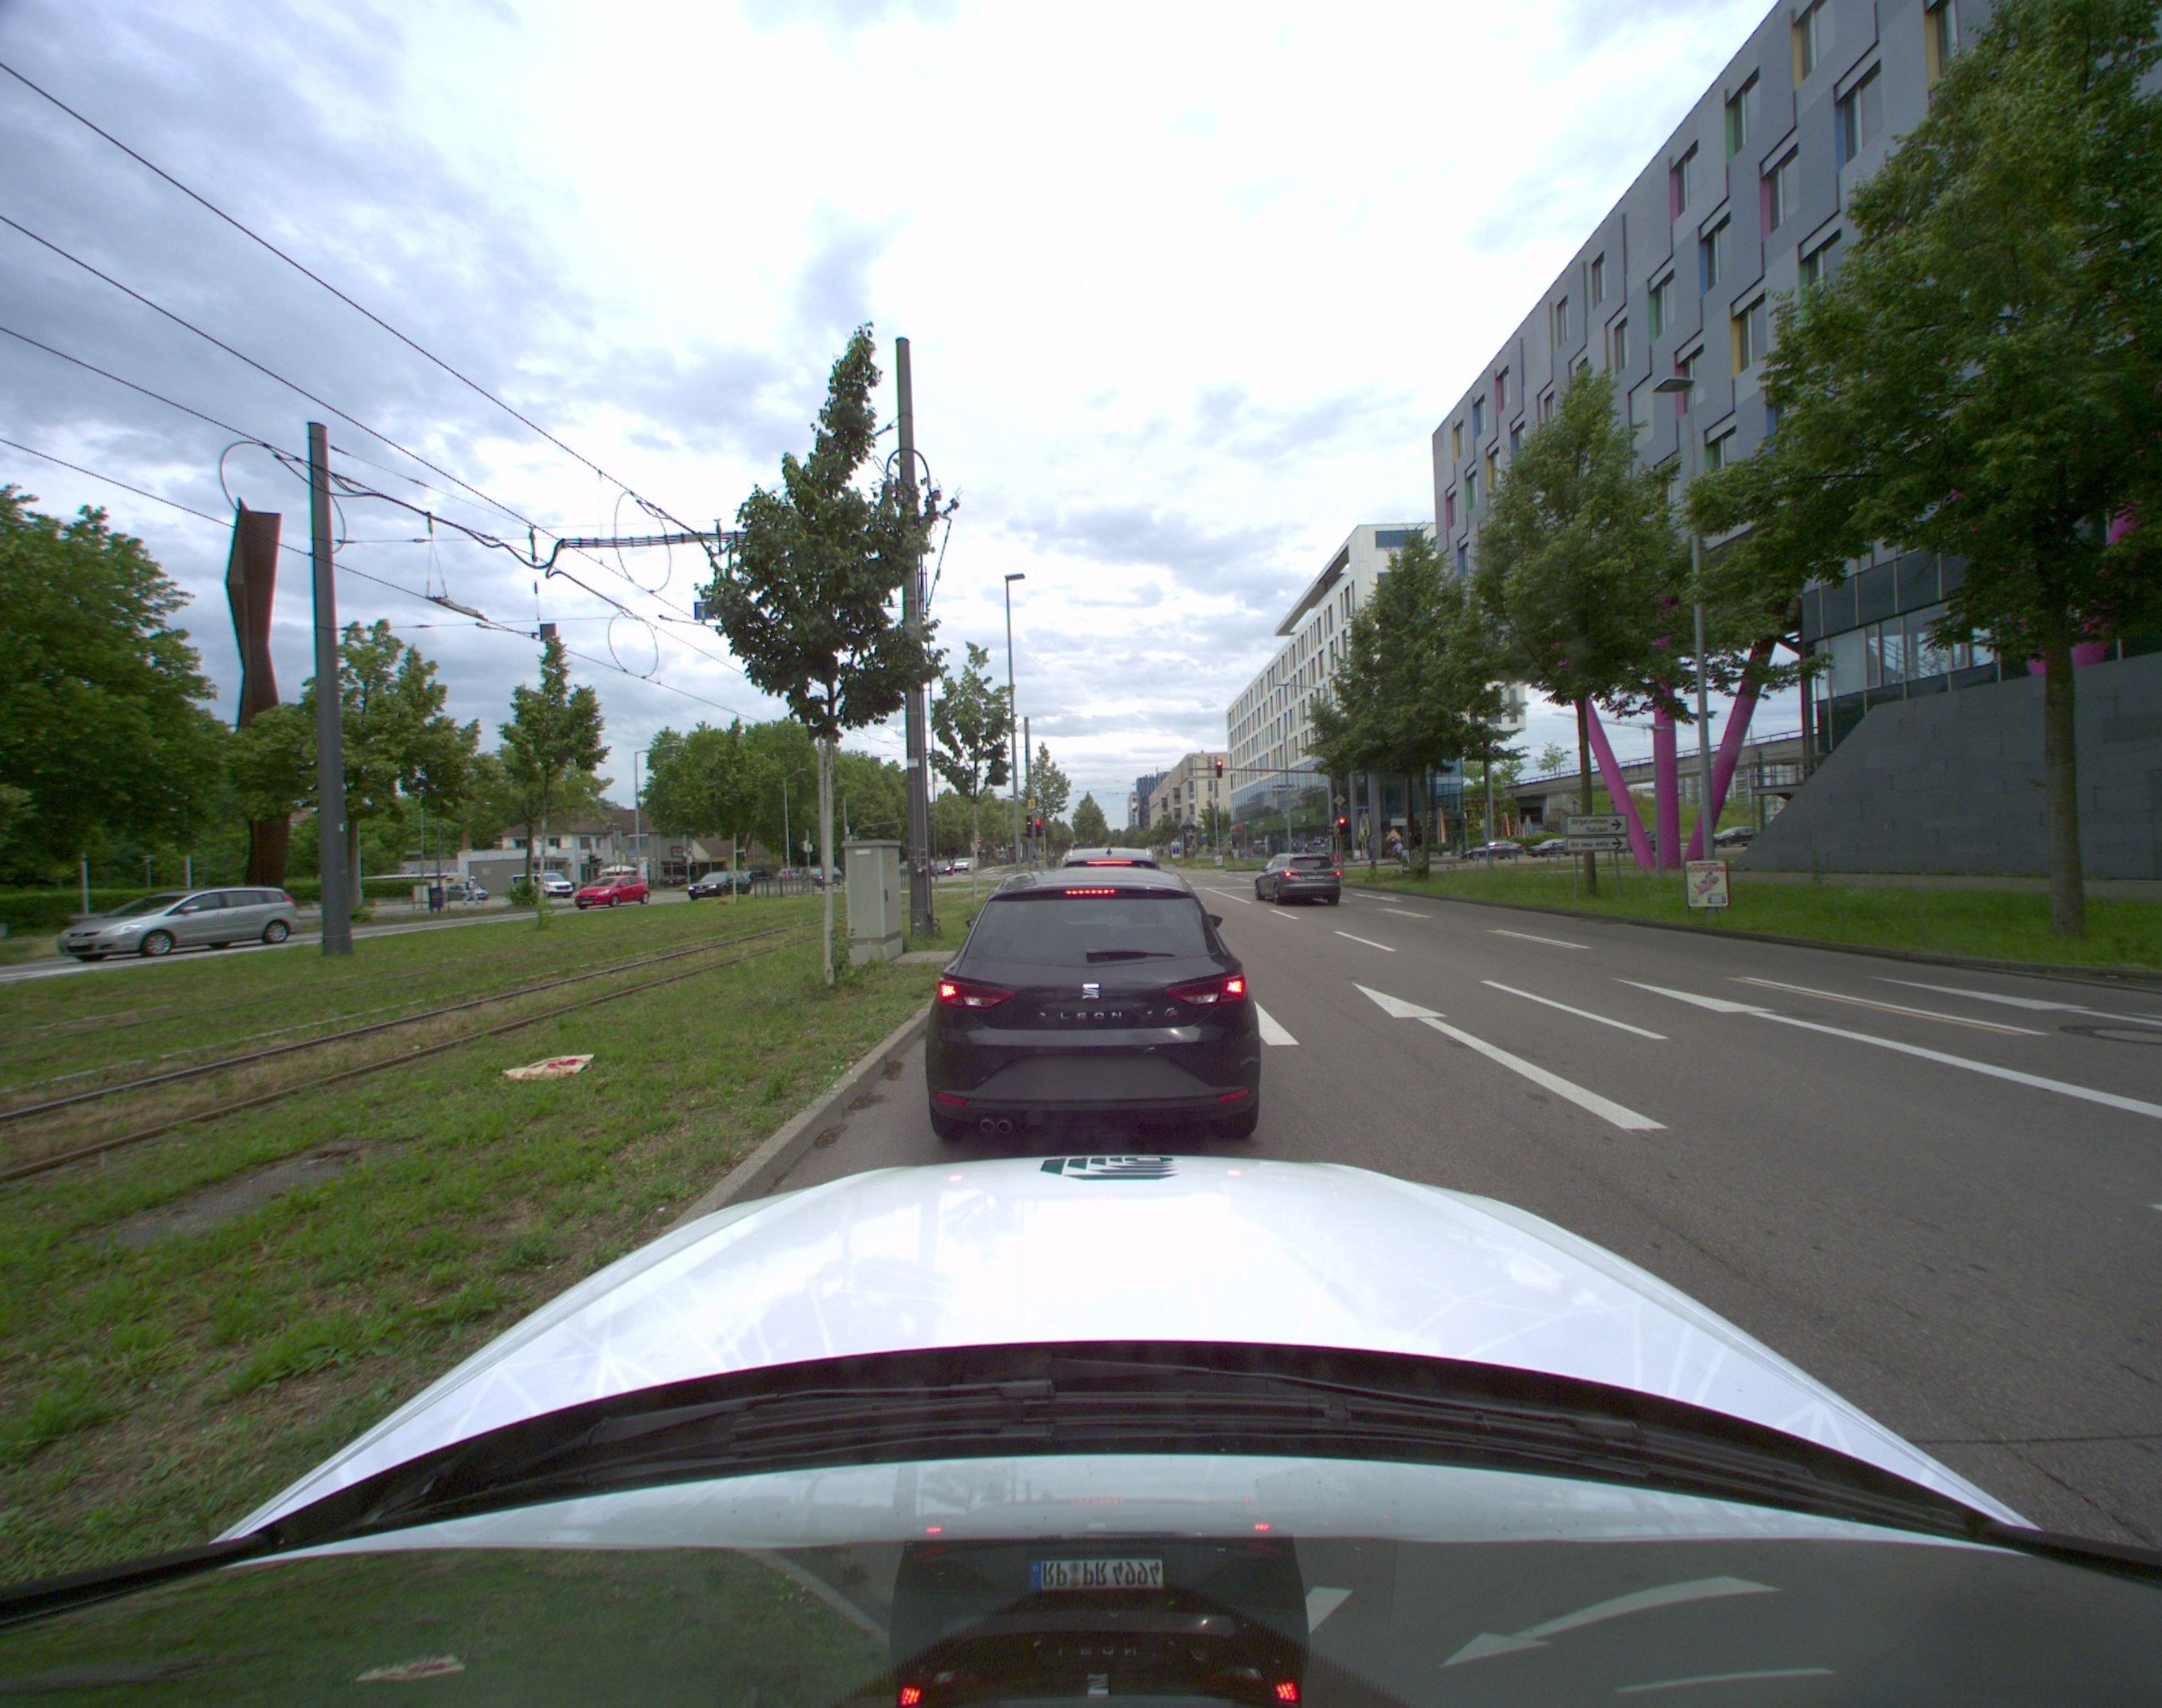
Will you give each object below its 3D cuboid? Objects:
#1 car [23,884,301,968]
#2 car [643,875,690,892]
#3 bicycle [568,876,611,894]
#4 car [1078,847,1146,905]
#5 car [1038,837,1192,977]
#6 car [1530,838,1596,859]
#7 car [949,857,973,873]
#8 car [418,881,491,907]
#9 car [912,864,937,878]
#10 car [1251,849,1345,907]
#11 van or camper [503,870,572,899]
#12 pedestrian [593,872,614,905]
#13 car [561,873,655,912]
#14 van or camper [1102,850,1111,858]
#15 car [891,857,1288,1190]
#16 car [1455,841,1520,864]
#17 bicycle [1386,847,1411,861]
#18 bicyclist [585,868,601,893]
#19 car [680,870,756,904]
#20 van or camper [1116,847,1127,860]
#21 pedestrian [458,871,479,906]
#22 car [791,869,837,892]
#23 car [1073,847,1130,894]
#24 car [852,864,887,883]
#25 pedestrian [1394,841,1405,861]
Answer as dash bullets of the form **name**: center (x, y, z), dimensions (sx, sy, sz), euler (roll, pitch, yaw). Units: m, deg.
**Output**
- **car**: center (-22.973, 1.715, 20.720), dimensions (1.715, 1.643, 4.674), euler (-2, 0, 0)
- **car**: center (-47.134, 3.347, 92.714), dimensions (4.258, 1.816, 2.111), euler (-2, 0, 6)
- **bicycle**: center (-35.626, 2.228, 59.080), dimensions (2.520, 1.202, 0.734), euler (-2, 0, -25)
- **car**: center (1.079, 0.637, 26.198), dimensions (1.984, 1.682, 4.005), euler (-1, 0, 5)
- **car**: center (0.473, 0.629, 11.817), dimensions (1.796, 1.624, 4.002), euler (-2, 0, 2)
- **car**: center (37.863, -0.427, 64.041), dimensions (4.063, 1.455, 1.759), euler (-2, 0, 3)
- **car**: center (-13.775, 1.220, 93.533), dimensions (1.987, 1.750, 4.201), euler (-2, 0, 1)
- **car**: center (-50.035, 3.181, 65.088), dimensions (4.258, 1.816, 2.111), euler (-2, 0, 6)
- **car**: center (-17.623, 1.913, 91.986), dimensions (1.805, 1.377, 4.270), euler (-2, 0, 1)
- **car**: center (6.407, 0.652, 24.504), dimensions (1.741, 1.499, 4.270), euler (-2, 1, 1)
- **van or camper**: center (-41.617, 2.316, 62.333), dimensions (5.212, 2.013, 2.481), euler (-2, 0, 34)
- **pedestrian**: center (-27.709, 2.003, 47.261), dimensions (0.779, 1.832, 0.771), euler (-2, 0, -16)
- **car**: center (-22.550, 1.777, 39.035), dimensions (1.789, 1.570, 4.331), euler (-2, 0, 3)
- **van or camper**: center (6.053, 0.017, 195.411), dimensions (1.986, 1.615, 4.792), euler (-1, 1, 2)
- **car**: center (0.074, 0.755, 5.595), dimensions (1.737, 1.417, 4.001), euler (-1, 0, 1)
- **car**: center (31.847, -0.128, 63.864), dimensions (4.233, 1.615, 1.759), euler (-2, 0, 3)
- **bicycle**: center (25.678, 0.010, 65.845), dimensions (1.784, 1.085, 0.618), euler (-2, 0, 3)
- **bicyclist**: center (-35.428, 1.932, 59.175), dimensions (0.854, 1.721, 0.715), euler (-2, 0, -25)
- **car**: center (-18.782, 1.668, 42.373), dimensions (1.658, 1.426, 4.746), euler (-4, 0, 1)
- **van or camper**: center (7.941, -0.158, 159.574), dimensions (2.101, 2.355, 4.927), euler (-1, 2, 2)
- **pedestrian**: center (-36.264, 2.014, 48.214), dimensions (0.910, 2.013, 0.942), euler (-2, 0, -40)
- **car**: center (-18.640, 1.817, 57.088), dimensions (1.795, 1.377, 4.058), euler (-2, 0, 1)
- **car**: center (0.850, 0.579, 31.269), dimensions (1.985, 1.682, 4.005), euler (-1, 0, 4)
- **car**: center (-19.941, 1.786, 76.833), dimensions (1.805, 1.588, 5.079), euler (-2, 0, 1)
- **pedestrian**: center (25.740, -0.249, 65.840), dimensions (0.612, 1.604, 0.619), euler (-2, 0, 4)
